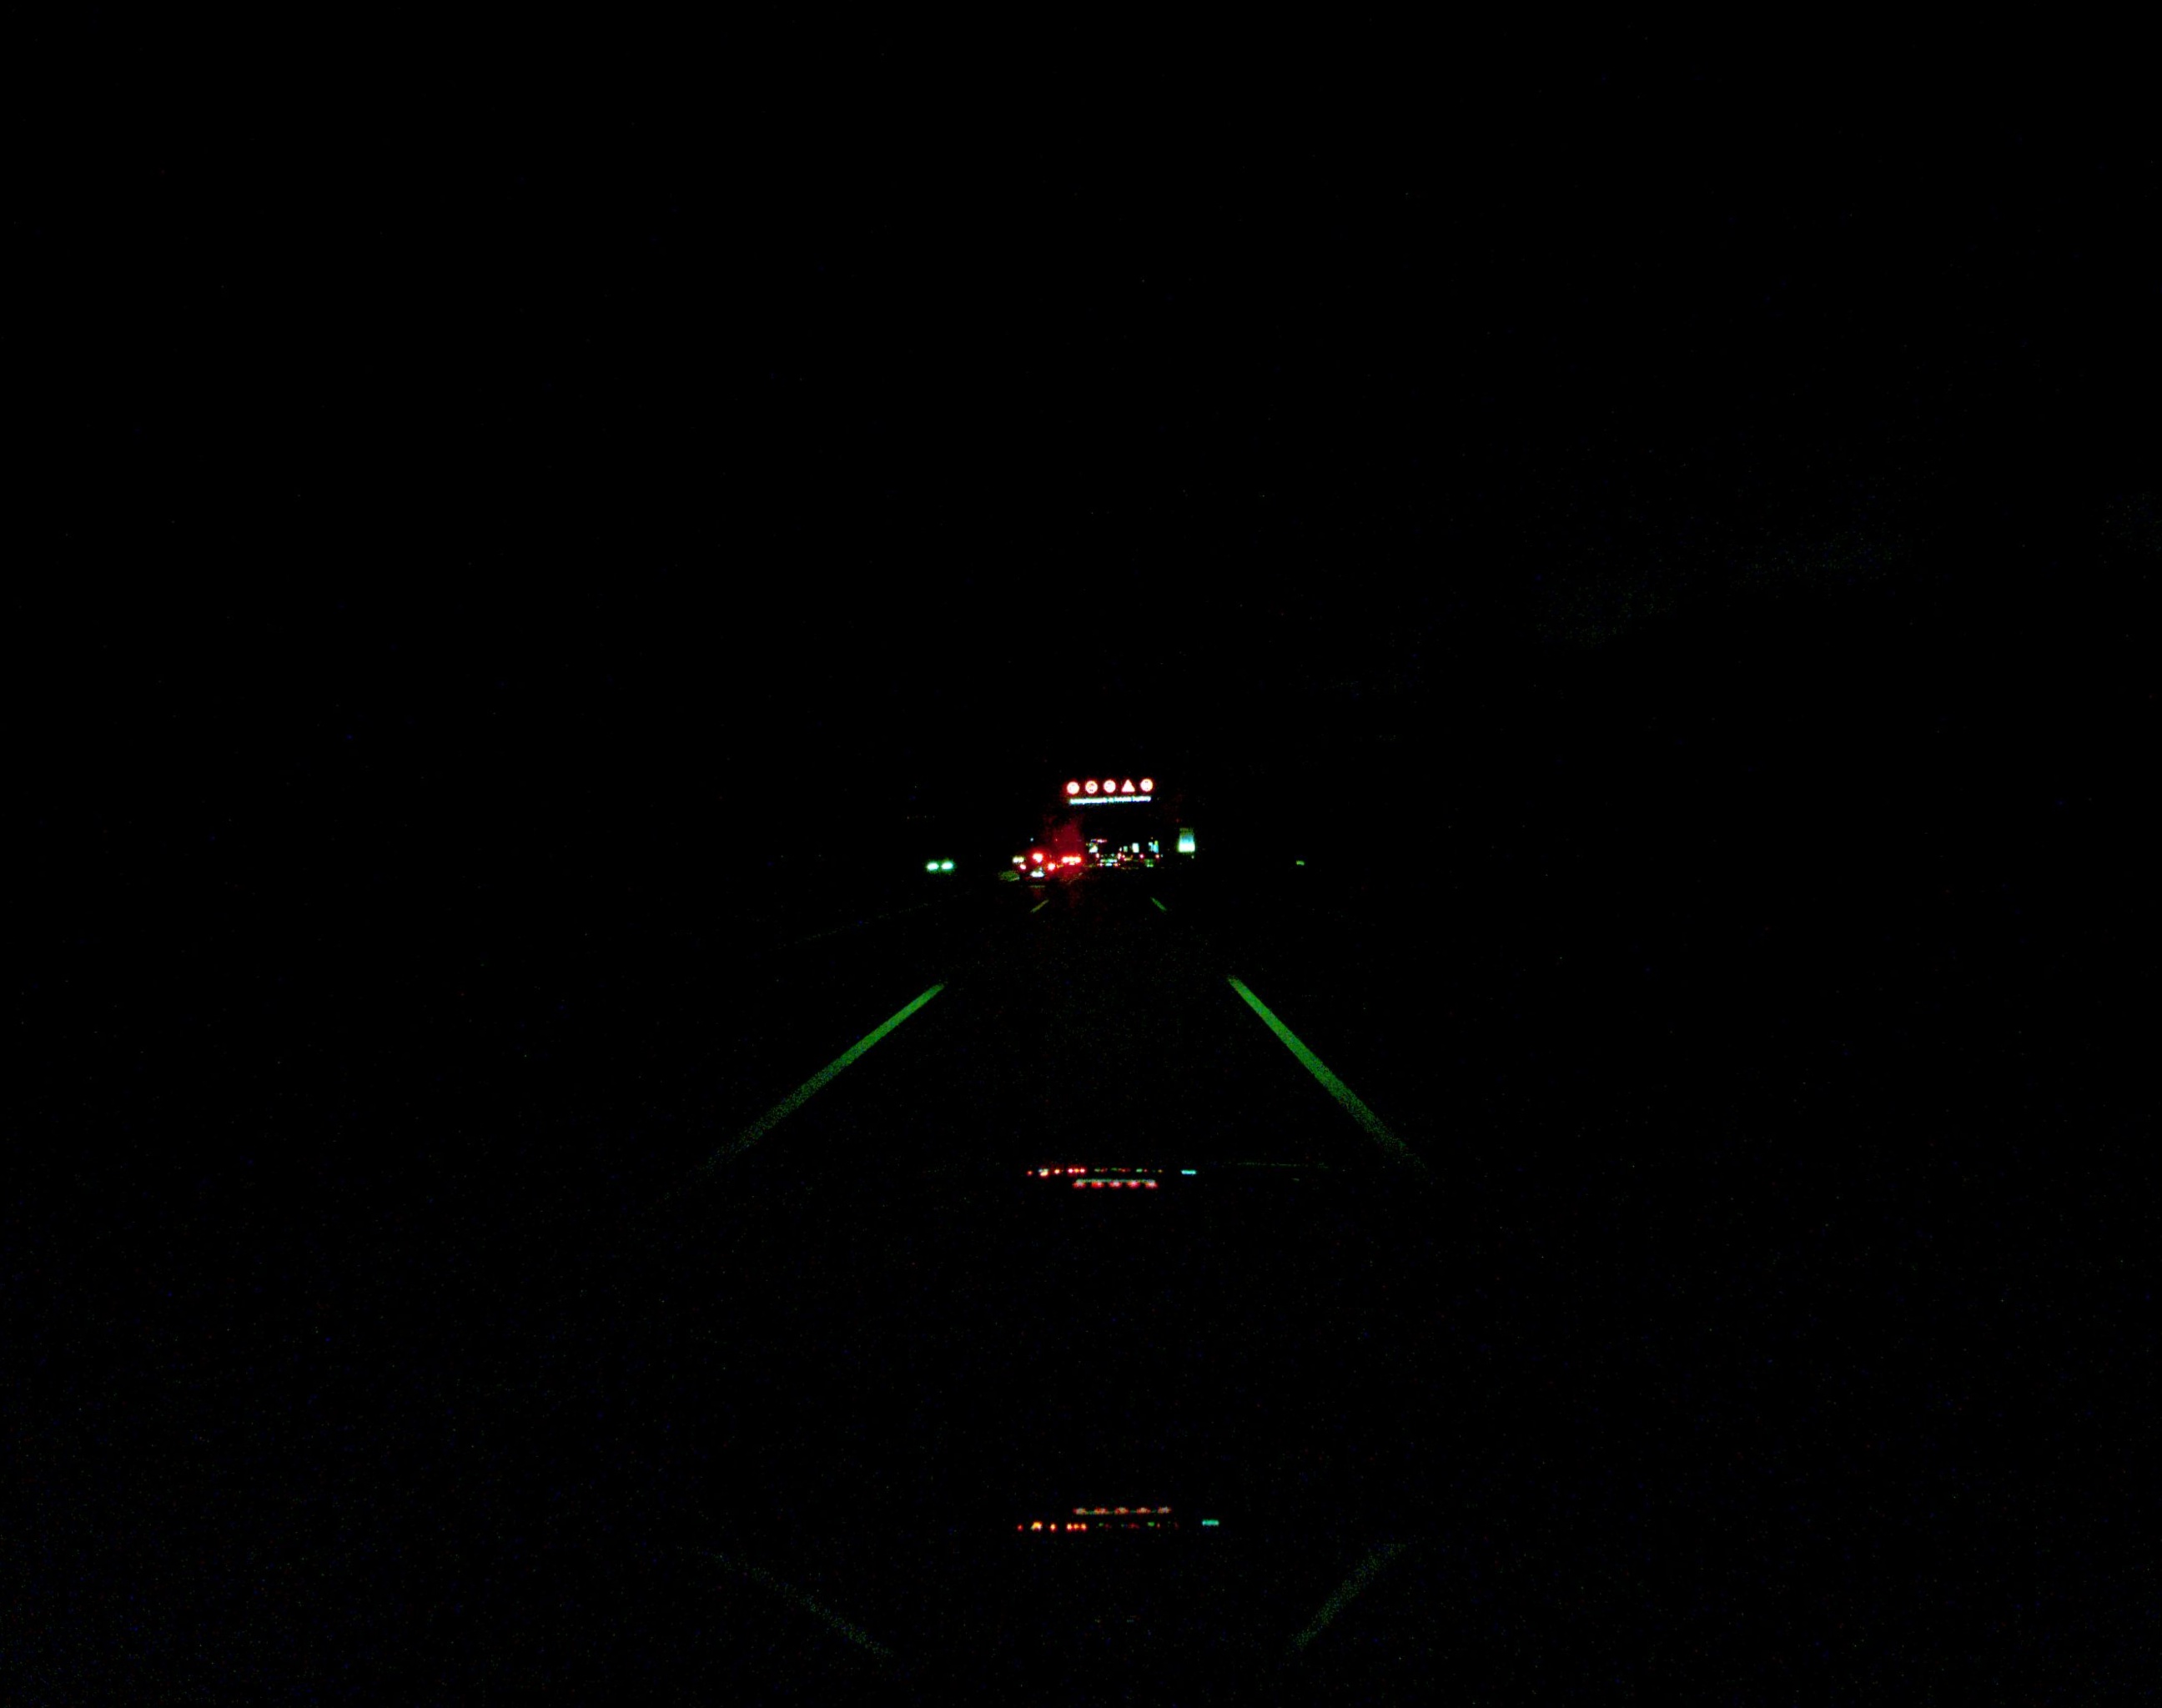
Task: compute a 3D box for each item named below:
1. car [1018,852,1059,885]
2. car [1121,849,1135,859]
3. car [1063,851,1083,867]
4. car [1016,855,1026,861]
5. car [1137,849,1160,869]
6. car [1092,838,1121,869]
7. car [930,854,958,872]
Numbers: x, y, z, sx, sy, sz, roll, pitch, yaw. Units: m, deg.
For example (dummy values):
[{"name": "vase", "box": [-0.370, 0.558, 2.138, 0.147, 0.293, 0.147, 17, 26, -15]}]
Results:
[{"name": "car", "box": [-2.016, 0.681, 39.889, 1.788, 1.469, 3.772, -1, 0, 0]}, {"name": "car", "box": [7.750, -0.043, 135.539, 2.154, 1.563, 4.725, -1, 0, 2]}, {"name": "car", "box": [-0.787, 0.480, 81.815, 1.738, 1.440, 4.370, -2, 0, 2]}, {"name": "car", "box": [-13.602, 0.909, 184.442, 1.896, 1.282, 4.352, -2, 0, 2]}, {"name": "car", "box": [5.721, 0.393, 69.405, 1.640, 1.596, 4.510, -1, 0, 1]}, {"name": "car", "box": [2.198, -0.062, 70.440, 2.342, 2.535, 5.704, -2, 0, 2]}, {"name": "car", "box": [-13.235, 0.863, 78.847, 1.897, 1.617, 4.404, -2, 0, 0]}]
